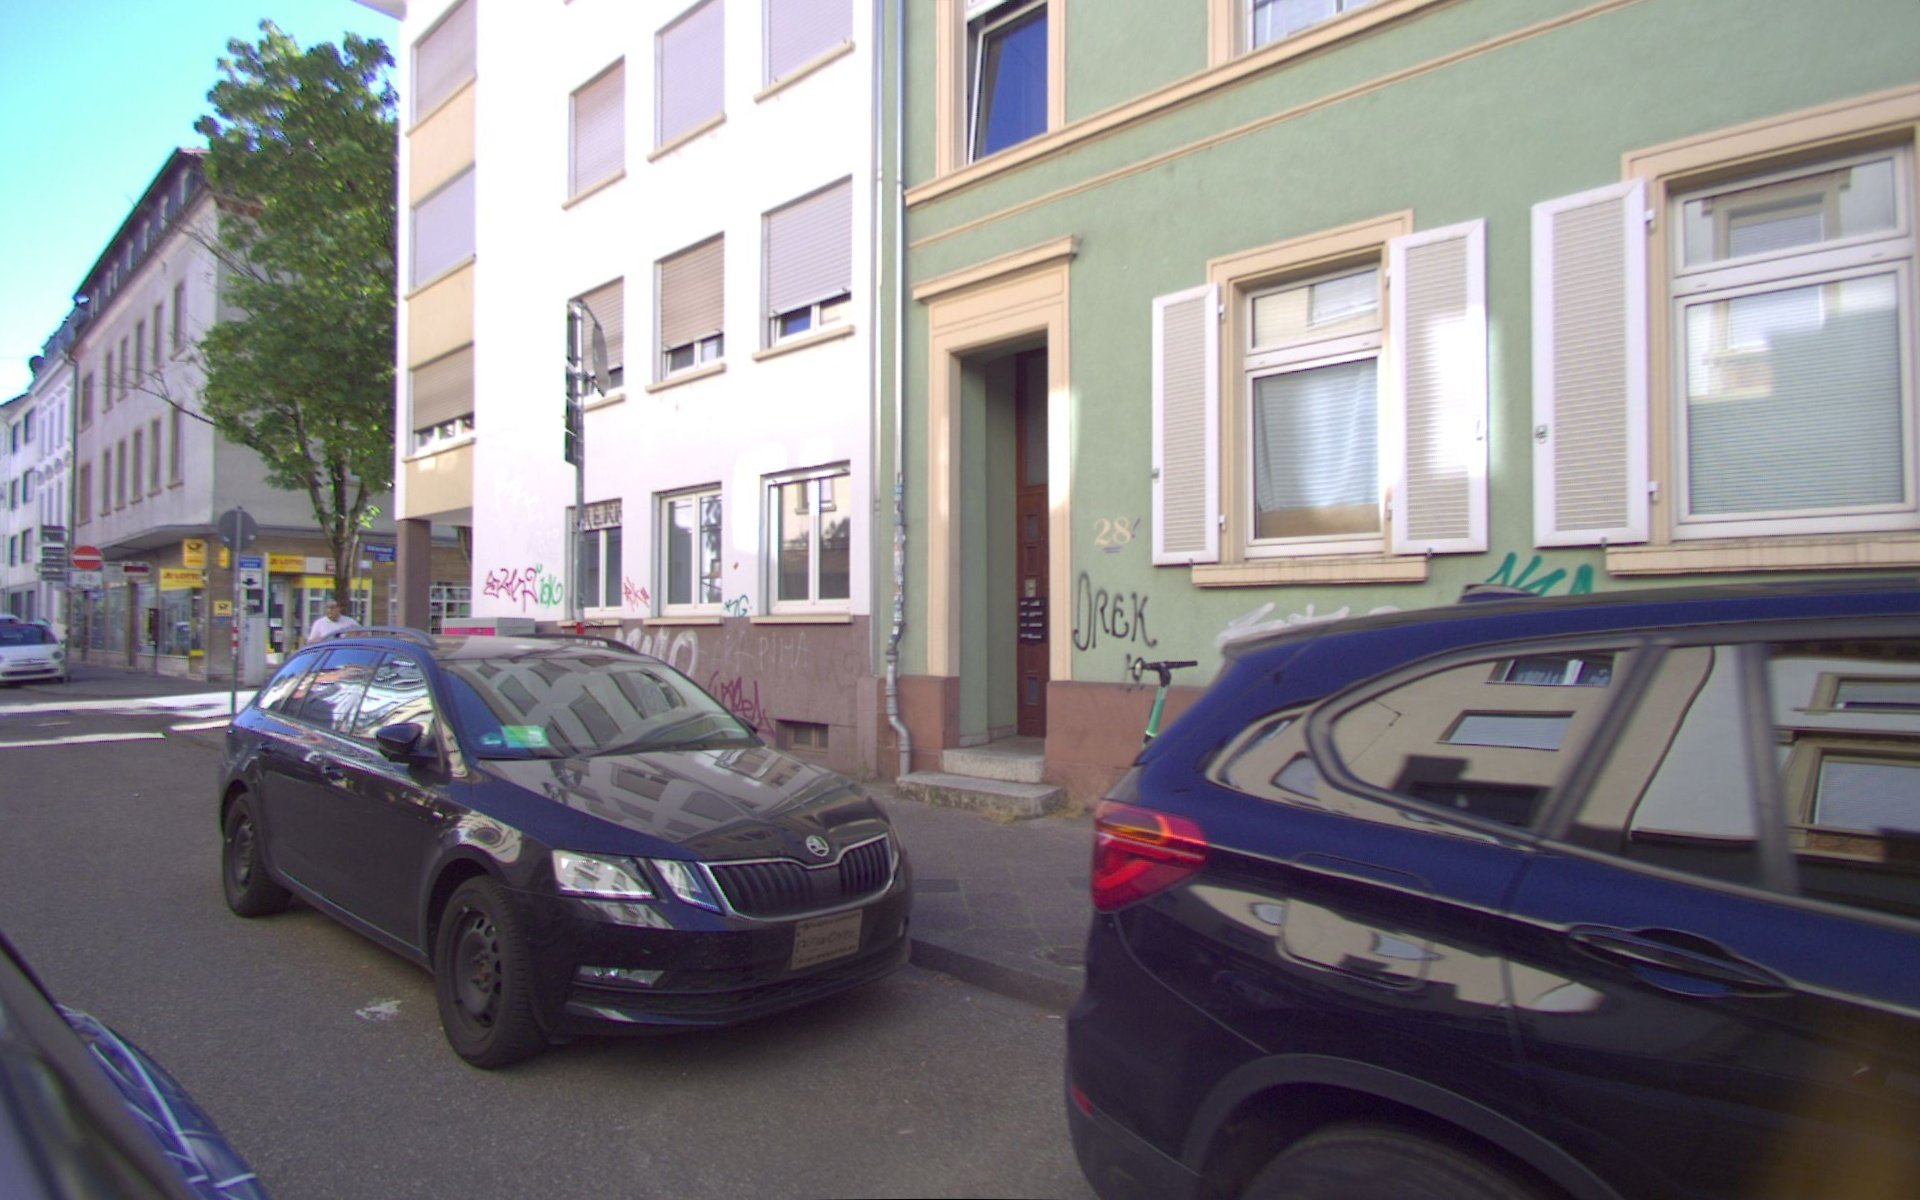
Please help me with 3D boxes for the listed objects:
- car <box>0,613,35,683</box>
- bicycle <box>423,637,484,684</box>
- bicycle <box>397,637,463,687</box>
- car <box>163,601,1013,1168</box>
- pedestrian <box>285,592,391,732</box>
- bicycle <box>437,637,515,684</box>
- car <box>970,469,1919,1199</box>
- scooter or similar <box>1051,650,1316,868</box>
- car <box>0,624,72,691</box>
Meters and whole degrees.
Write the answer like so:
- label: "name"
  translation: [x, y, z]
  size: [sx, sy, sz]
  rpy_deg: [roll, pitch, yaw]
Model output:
- label: "car"
  translation: [-28.309, 1.369, 29.177]
  size: [4.805, 1.913, 1.749]
  rpy_deg: [-2, -4, 40]
- label: "bicycle"
  translation: [-13.109, 1.548, 26.168]
  size: [2.402, 1.126, 0.516]
  rpy_deg: [0, -2, 41]
- label: "bicycle"
  translation: [-13.381, 1.533, 25.525]
  size: [2.307, 1.152, 0.700]
  rpy_deg: [-1, -2, 42]
- label: "car"
  translation: [-2.188, 0.842, 4.944]
  size: [4.849, 1.500, 1.696]
  rpy_deg: [-1, -4, 41]
- label: "pedestrian"
  translation: [-8.667, 0.832, 14.090]
  size: [1.245, 1.846, 0.901]
  rpy_deg: [-1, -2, 41]
- label: "bicycle"
  translation: [-12.769, 1.559, 26.656]
  size: [2.423, 1.135, 0.701]
  rpy_deg: [0, -2, 34]
- label: "car"
  translation: [2.299, 0.678, 1.182]
  size: [4.601, 1.627, 1.725]
  rpy_deg: [-2, -4, 42]
- label: "scooter or similar"
  translation: [1.393, 0.947, 6.542]
  size: [1.691, 1.190, 0.449]
  rpy_deg: [-1, -2, 44]
- label: "car"
  translation: [-23.511, 1.382, 25.222]
  size: [3.721, 1.572, 1.650]
  rpy_deg: [-1, -2, 42]
